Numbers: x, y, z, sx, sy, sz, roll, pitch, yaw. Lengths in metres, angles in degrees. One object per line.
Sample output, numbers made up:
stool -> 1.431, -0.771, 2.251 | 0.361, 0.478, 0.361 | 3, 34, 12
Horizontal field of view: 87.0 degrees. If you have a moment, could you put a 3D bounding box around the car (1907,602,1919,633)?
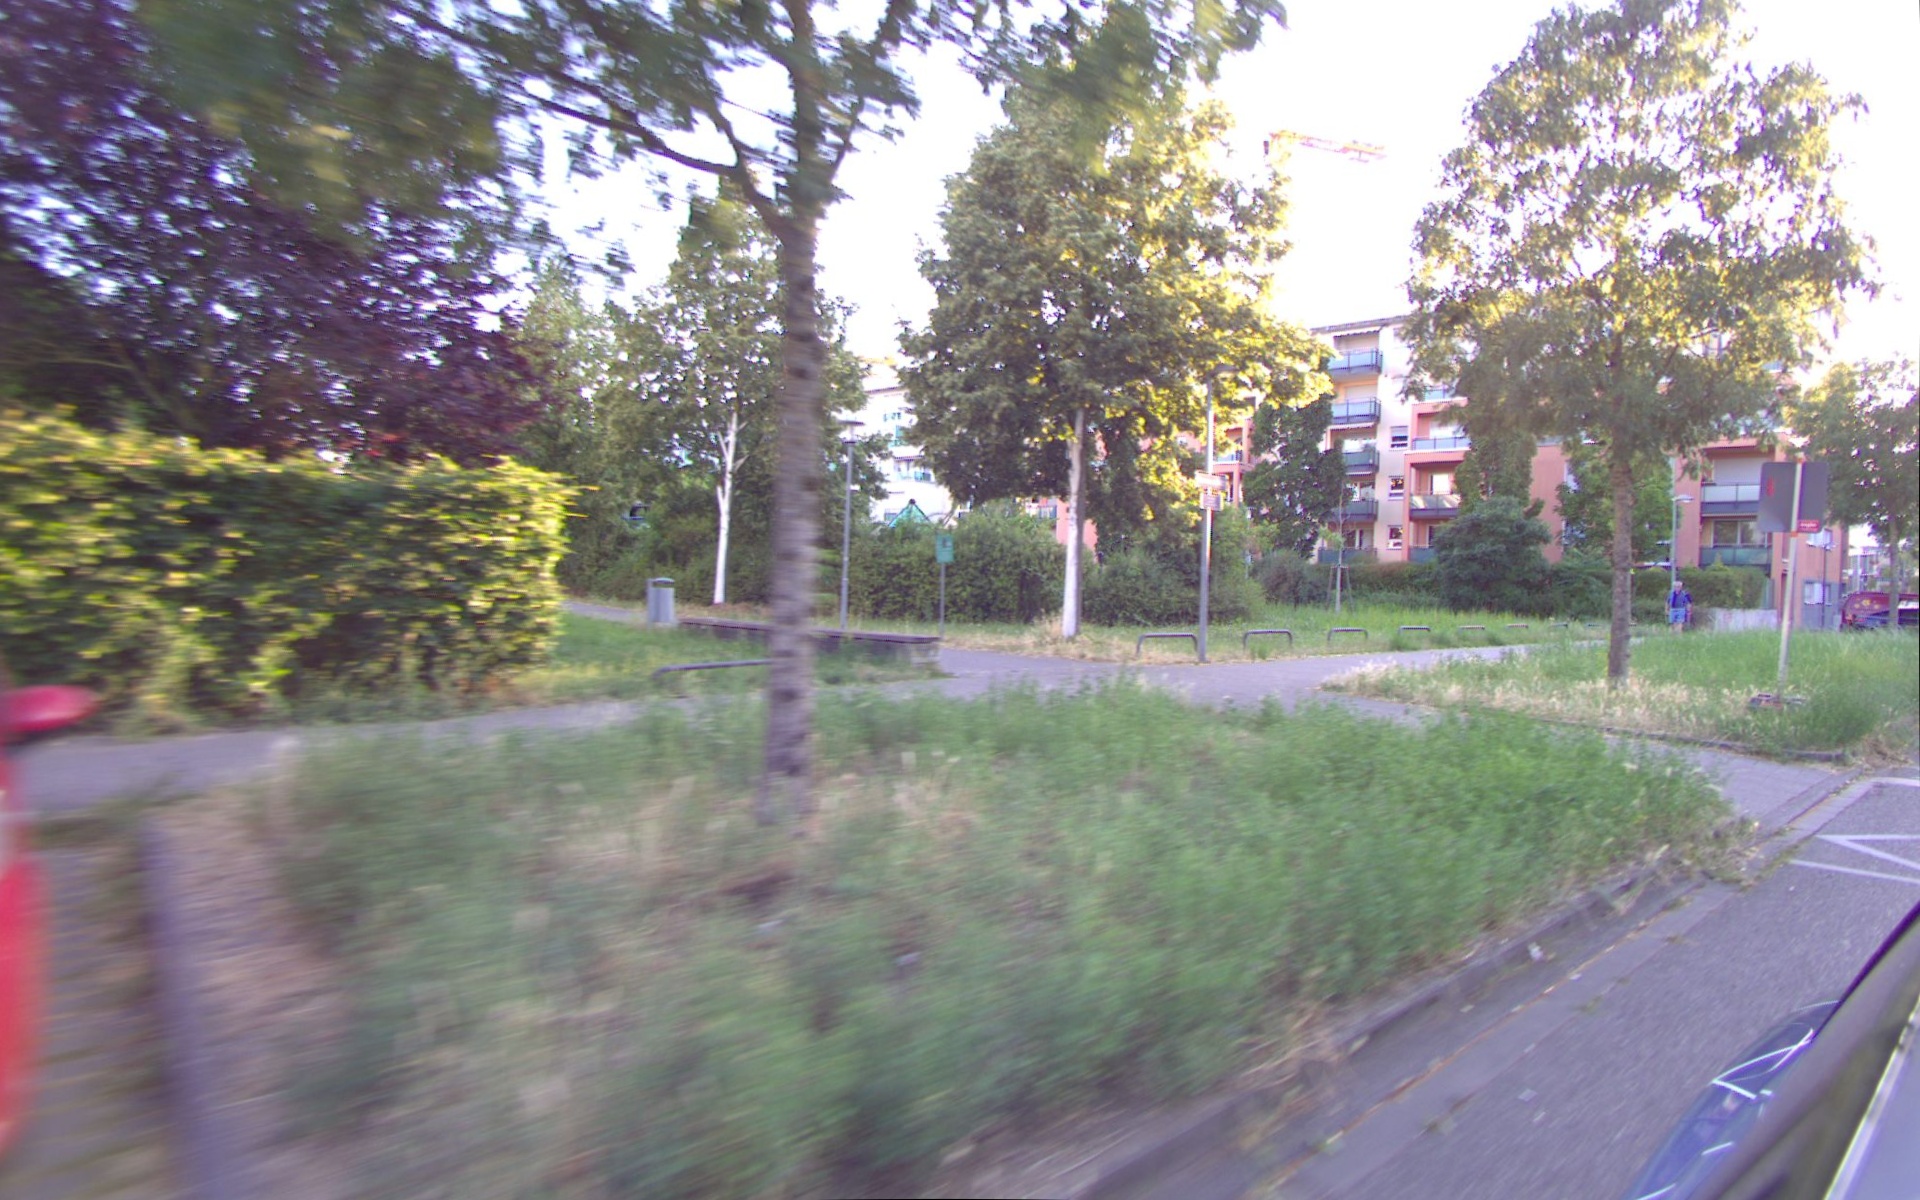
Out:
car -> 48.876, 0.884, 49.467 | 1.587, 1.491, 3.751 | -1, 2, -45

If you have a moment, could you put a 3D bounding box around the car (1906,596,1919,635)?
car -> 38.459, 0.700, 38.392 | 1.587, 1.483, 3.534 | 1, 3, -40

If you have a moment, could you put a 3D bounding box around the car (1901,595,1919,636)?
car -> 40.219, 0.739, 39.996 | 1.761, 1.588, 4.226 | 1, 3, -40

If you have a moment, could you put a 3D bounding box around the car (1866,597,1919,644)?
car -> 34.350, 0.774, 34.686 | 1.779, 1.576, 4.679 | 1, 1, -40

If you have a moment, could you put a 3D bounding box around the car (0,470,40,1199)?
car -> -3.660, 0.456, 2.766 | 1.650, 1.527, 3.808 | 1, 1, -42

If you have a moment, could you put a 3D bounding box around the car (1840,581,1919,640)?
car -> 36.018, 0.412, 37.448 | 1.980, 2.143, 4.932 | 1, 1, -39

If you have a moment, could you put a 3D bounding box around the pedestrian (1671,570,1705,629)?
pedestrian -> 22.282, -0.008, 30.969 | 0.687, 1.765, 0.670 | 1, 0, -41
